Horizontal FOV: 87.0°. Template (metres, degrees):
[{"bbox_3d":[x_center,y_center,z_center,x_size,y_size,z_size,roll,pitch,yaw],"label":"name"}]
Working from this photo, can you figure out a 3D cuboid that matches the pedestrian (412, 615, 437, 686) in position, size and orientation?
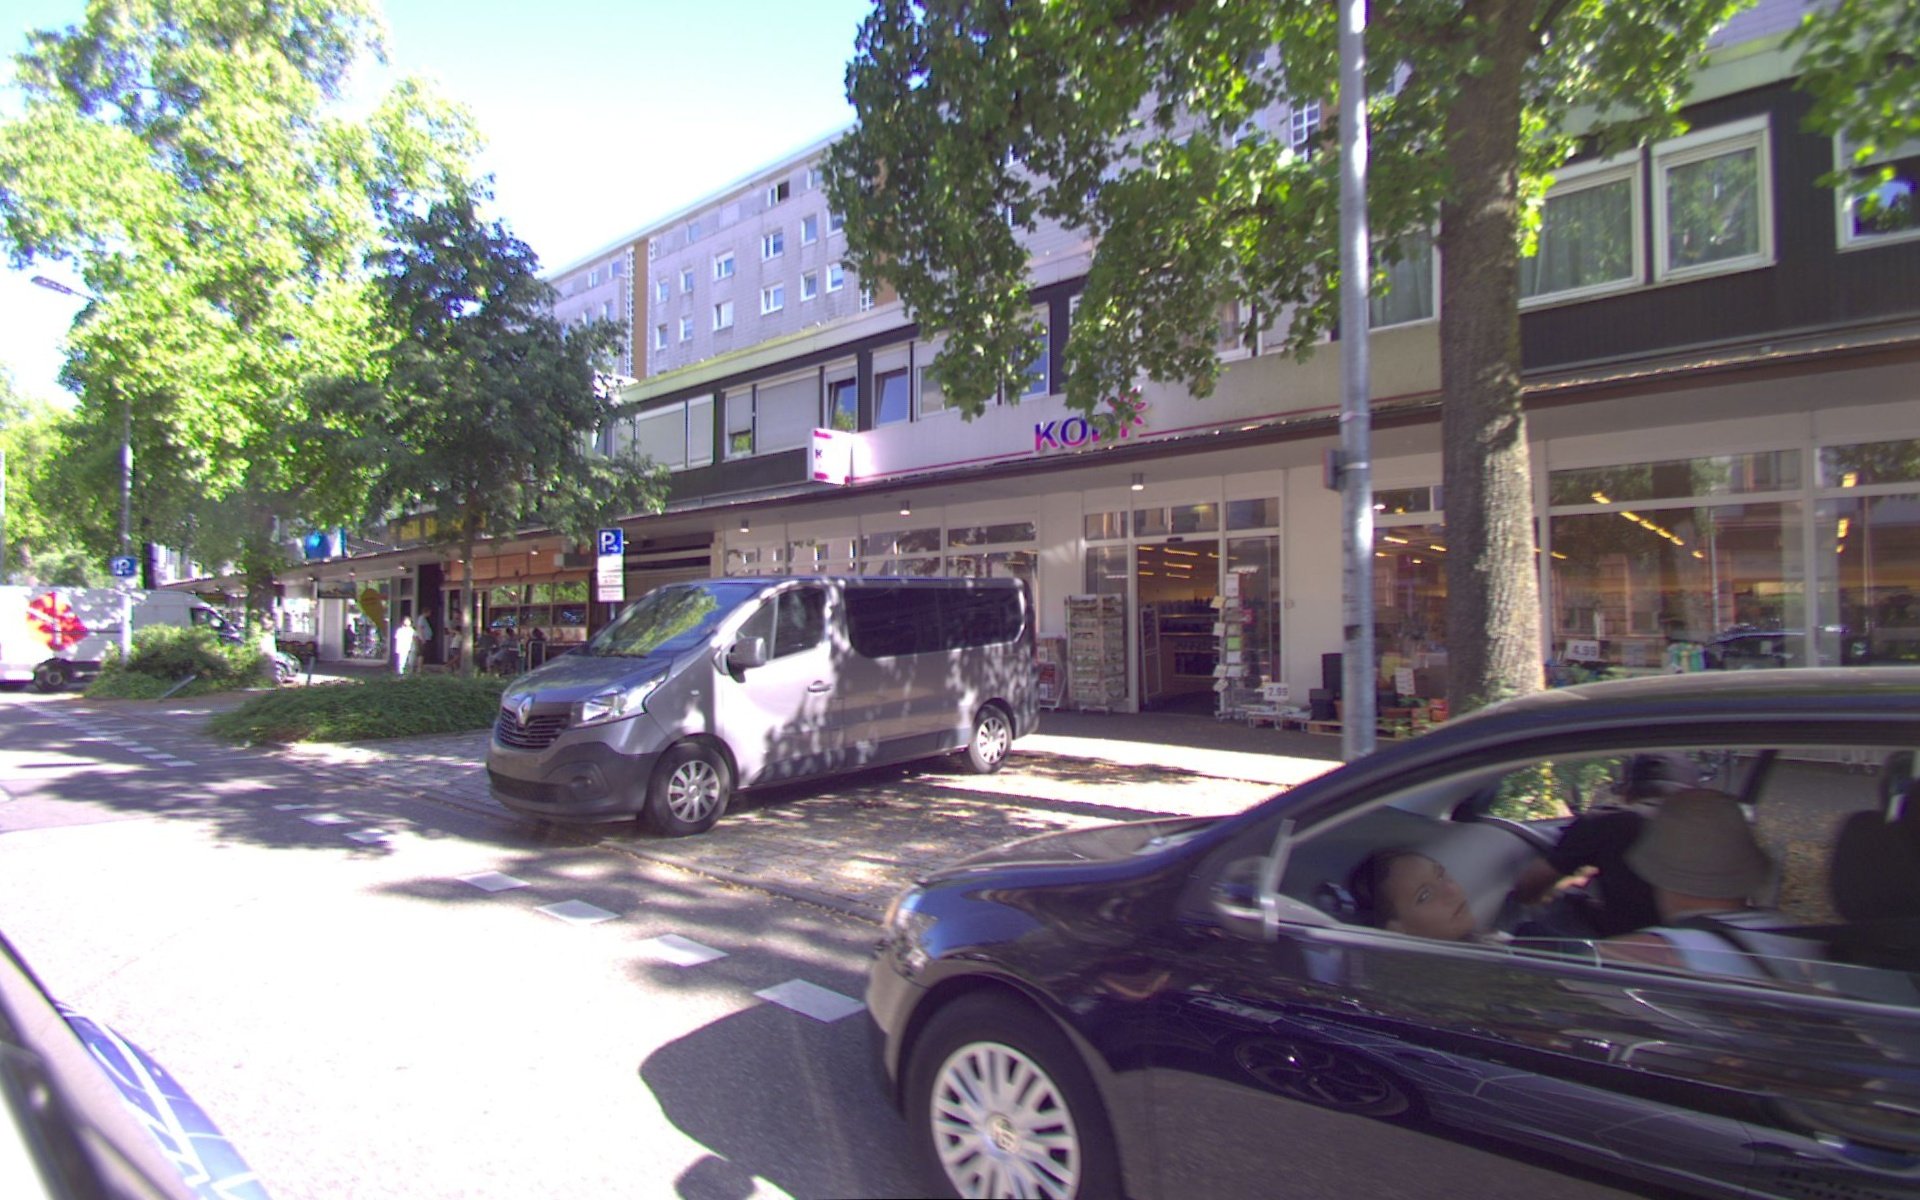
[{"bbox_3d":[-14.881,1.397,28.113,0.590,1.950,0.589,1,-2,-28],"label":"pedestrian"}]

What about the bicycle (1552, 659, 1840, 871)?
[{"bbox_3d":[4.966,1.037,6.814,1.953,1.193,0.630,-1,-1,-23],"label":"bicycle"}]

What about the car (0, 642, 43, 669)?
[{"bbox_3d":[-52.070,2.972,54.356,1.758,1.409,3.947,-2,-3,39],"label":"car"}]

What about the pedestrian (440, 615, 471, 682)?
[{"bbox_3d":[-14.539,1.389,29.173,0.579,1.918,0.588,-2,-3,39],"label":"pedestrian"}]

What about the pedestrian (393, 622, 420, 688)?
[{"bbox_3d":[-14.693,1.462,26.872,0.590,1.725,0.589,1,-2,-28],"label":"pedestrian"}]

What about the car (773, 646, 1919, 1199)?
[{"bbox_3d":[1.567,0.839,2.046,3.958,1.449,1.744,-2,-4,41],"label":"car"}]

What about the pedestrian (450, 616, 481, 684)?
[{"bbox_3d":[-14.053,1.413,28.766,0.579,1.918,0.588,-2,-3,40],"label":"pedestrian"}]

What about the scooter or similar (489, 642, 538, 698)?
[{"bbox_3d":[-10.575,1.645,23.992,0.452,1.232,1.315,-1,-1,7],"label":"scooter or similar"}]

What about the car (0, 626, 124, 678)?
[{"bbox_3d":[-37.344,2.108,41.111,1.872,1.953,4.979,-2,-1,40],"label":"car"}]

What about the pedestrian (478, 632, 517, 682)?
[{"bbox_3d":[-12.247,1.495,26.782,0.897,1.273,0.602,-2,-2,38],"label":"pedestrian"}]

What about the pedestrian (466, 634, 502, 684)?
[{"bbox_3d":[-13.262,1.631,28.202,0.953,1.351,0.558,-2,-2,39],"label":"pedestrian"}]

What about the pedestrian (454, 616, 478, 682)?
[{"bbox_3d":[-14.628,1.449,29.970,0.492,1.918,0.448,-2,-3,39],"label":"pedestrian"}]

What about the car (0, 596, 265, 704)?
[{"bbox_3d":[-22.210,1.249,26.636,1.985,2.493,6.560,-1,-2,20],"label":"car"}]

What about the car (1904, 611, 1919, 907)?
[{"bbox_3d":[5.003,0.822,4.018,1.683,1.564,3.560,-2,-1,41],"label":"car"}]

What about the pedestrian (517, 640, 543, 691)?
[{"bbox_3d":[-10.752,1.630,25.321,0.636,1.250,0.325,-2,-3,38],"label":"pedestrian"}]

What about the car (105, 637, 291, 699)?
[{"bbox_3d":[-19.708,1.702,26.277,1.830,1.431,3.557,-2,-2,40],"label":"car"}]

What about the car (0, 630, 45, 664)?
[{"bbox_3d":[-58.995,2.879,61.399,1.908,1.984,4.933,-2,-2,39],"label":"car"}]

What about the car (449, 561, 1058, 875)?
[{"bbox_3d":[-1.463,0.787,9.095,2.014,1.989,5.238,-2,-2,40],"label":"car"}]
